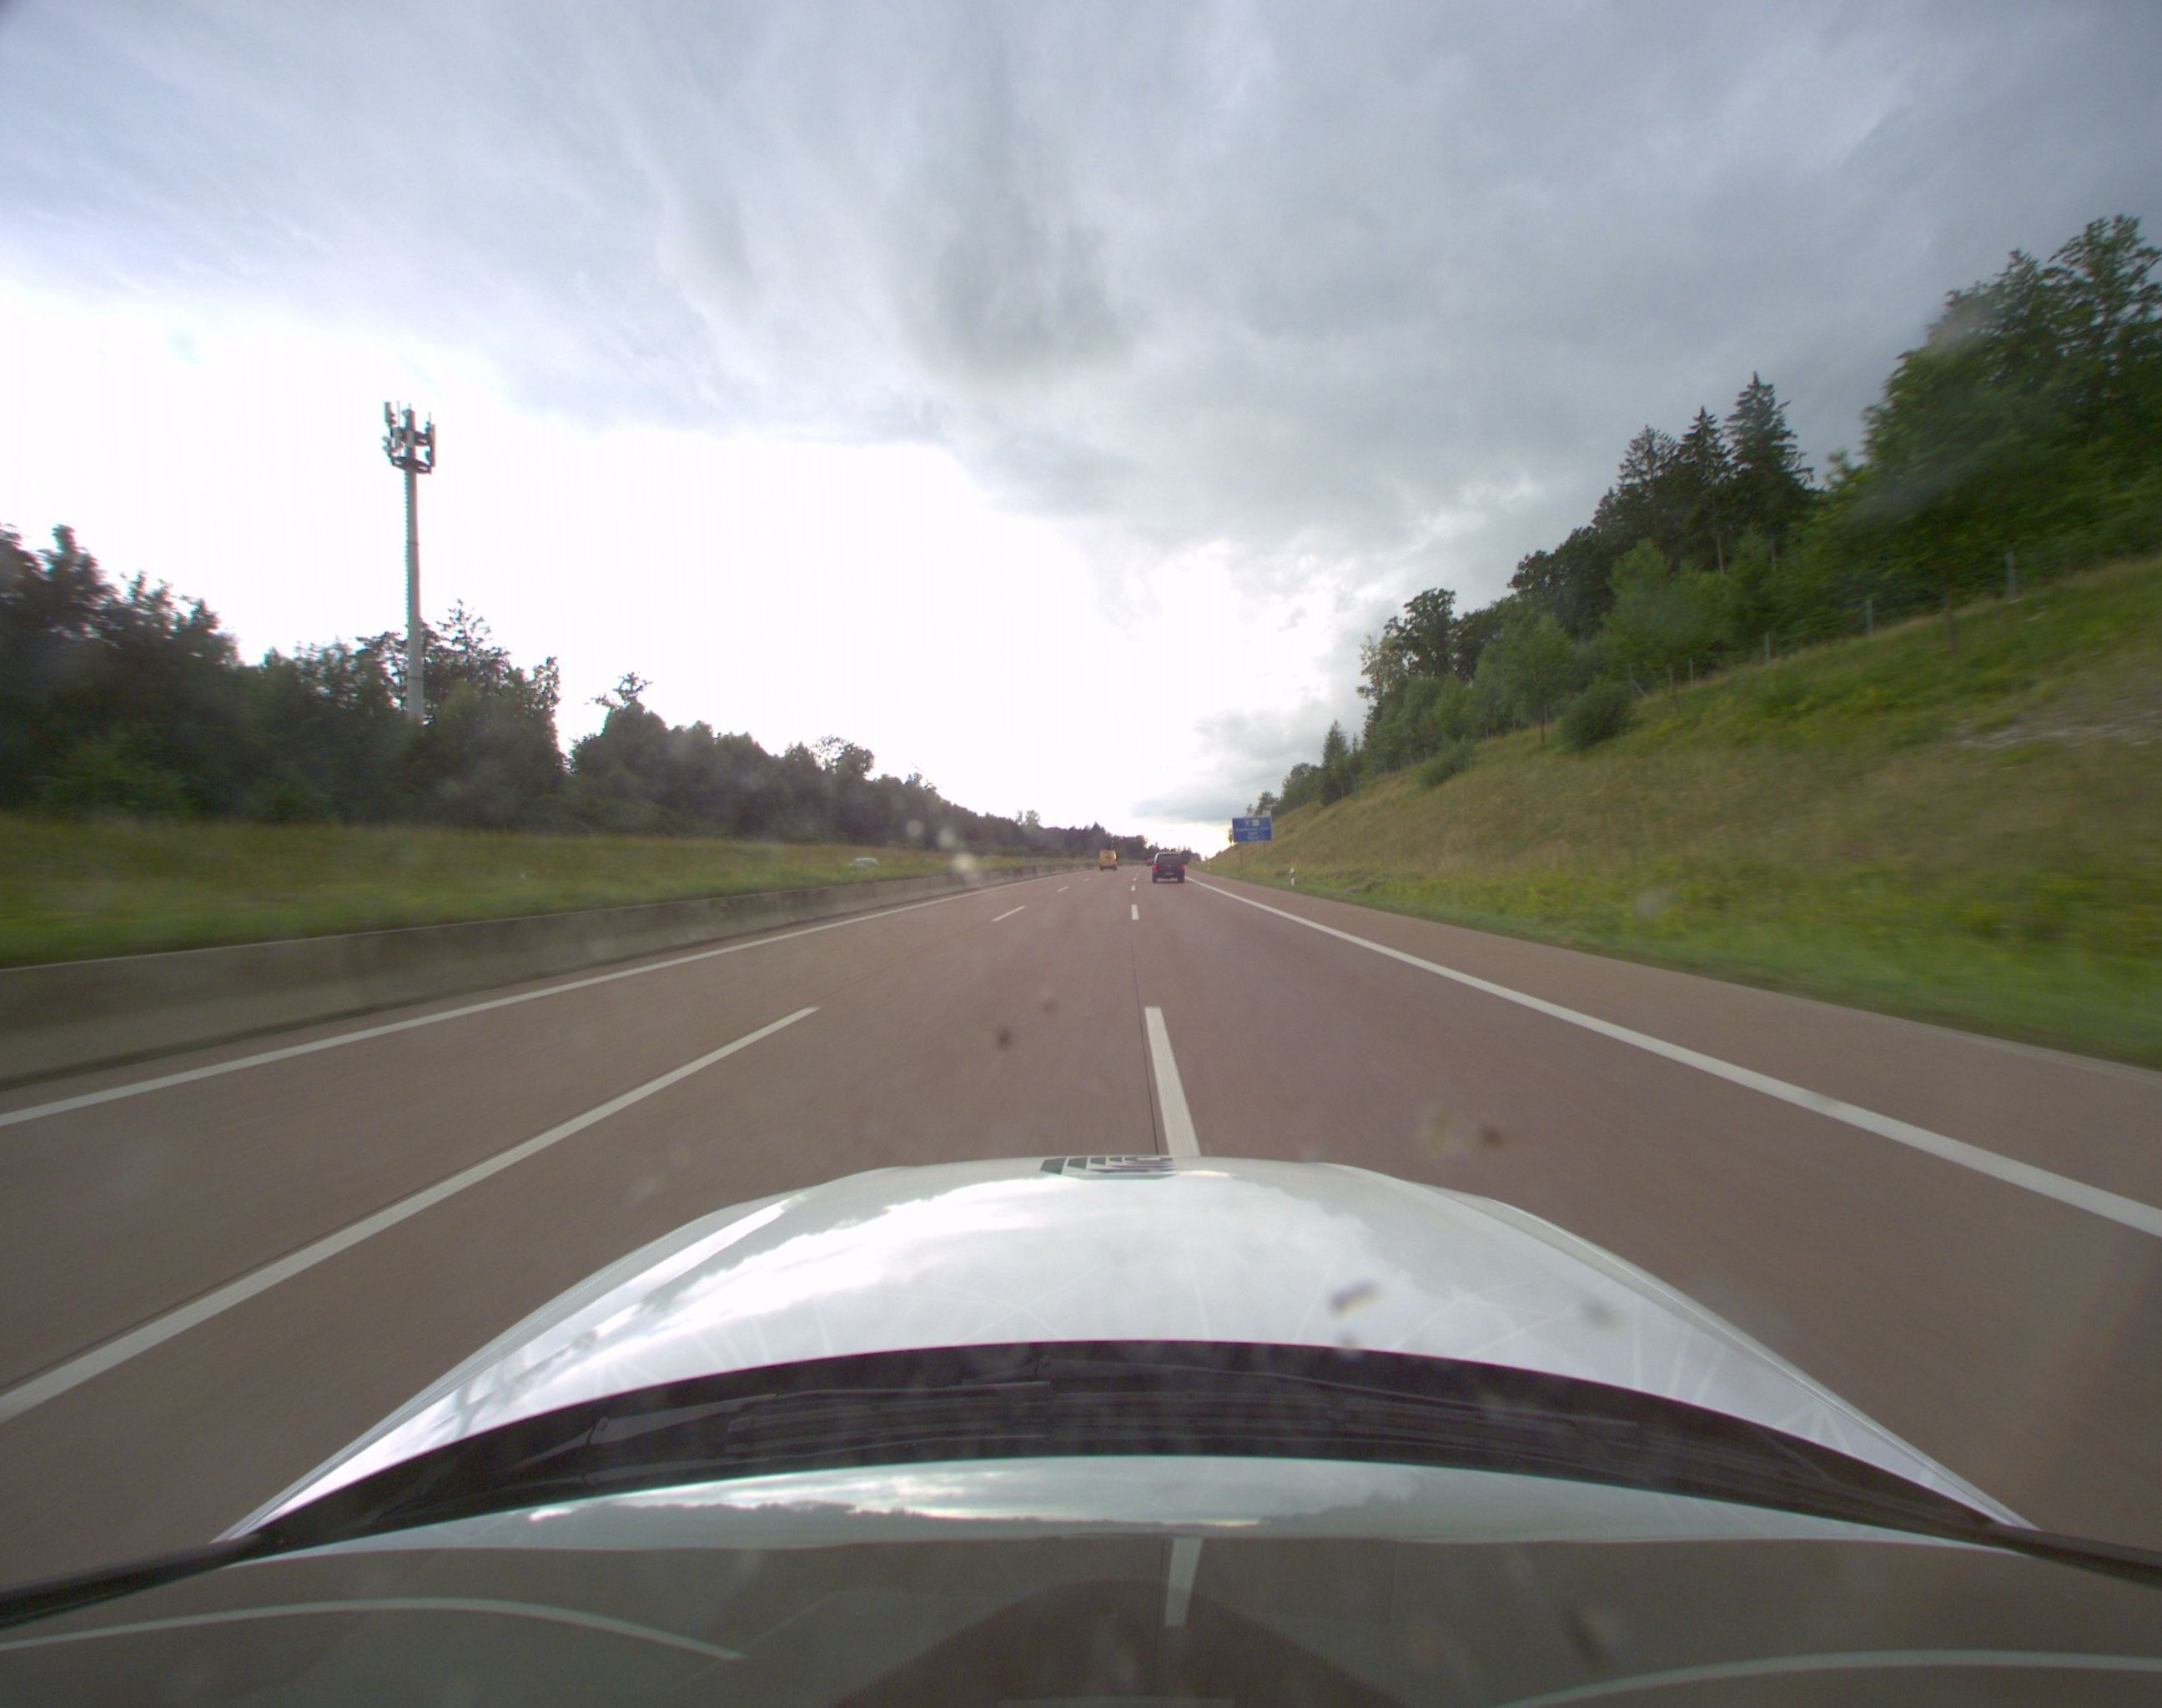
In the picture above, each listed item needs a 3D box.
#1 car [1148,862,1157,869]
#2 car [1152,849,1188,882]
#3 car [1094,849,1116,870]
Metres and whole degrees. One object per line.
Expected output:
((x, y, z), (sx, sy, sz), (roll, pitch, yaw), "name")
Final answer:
((17.112, 2.755, 194.613), (1.877, 1.764, 5.008), (-2, -2, 8), "car")
((5.475, 0.723, 50.318), (2.034, 1.897, 5.586), (-2, -1, 6), "car")
((3.284, 0.799, 108.622), (2.446, 2.706, 5.622), (-2, -2, 6), "car")
